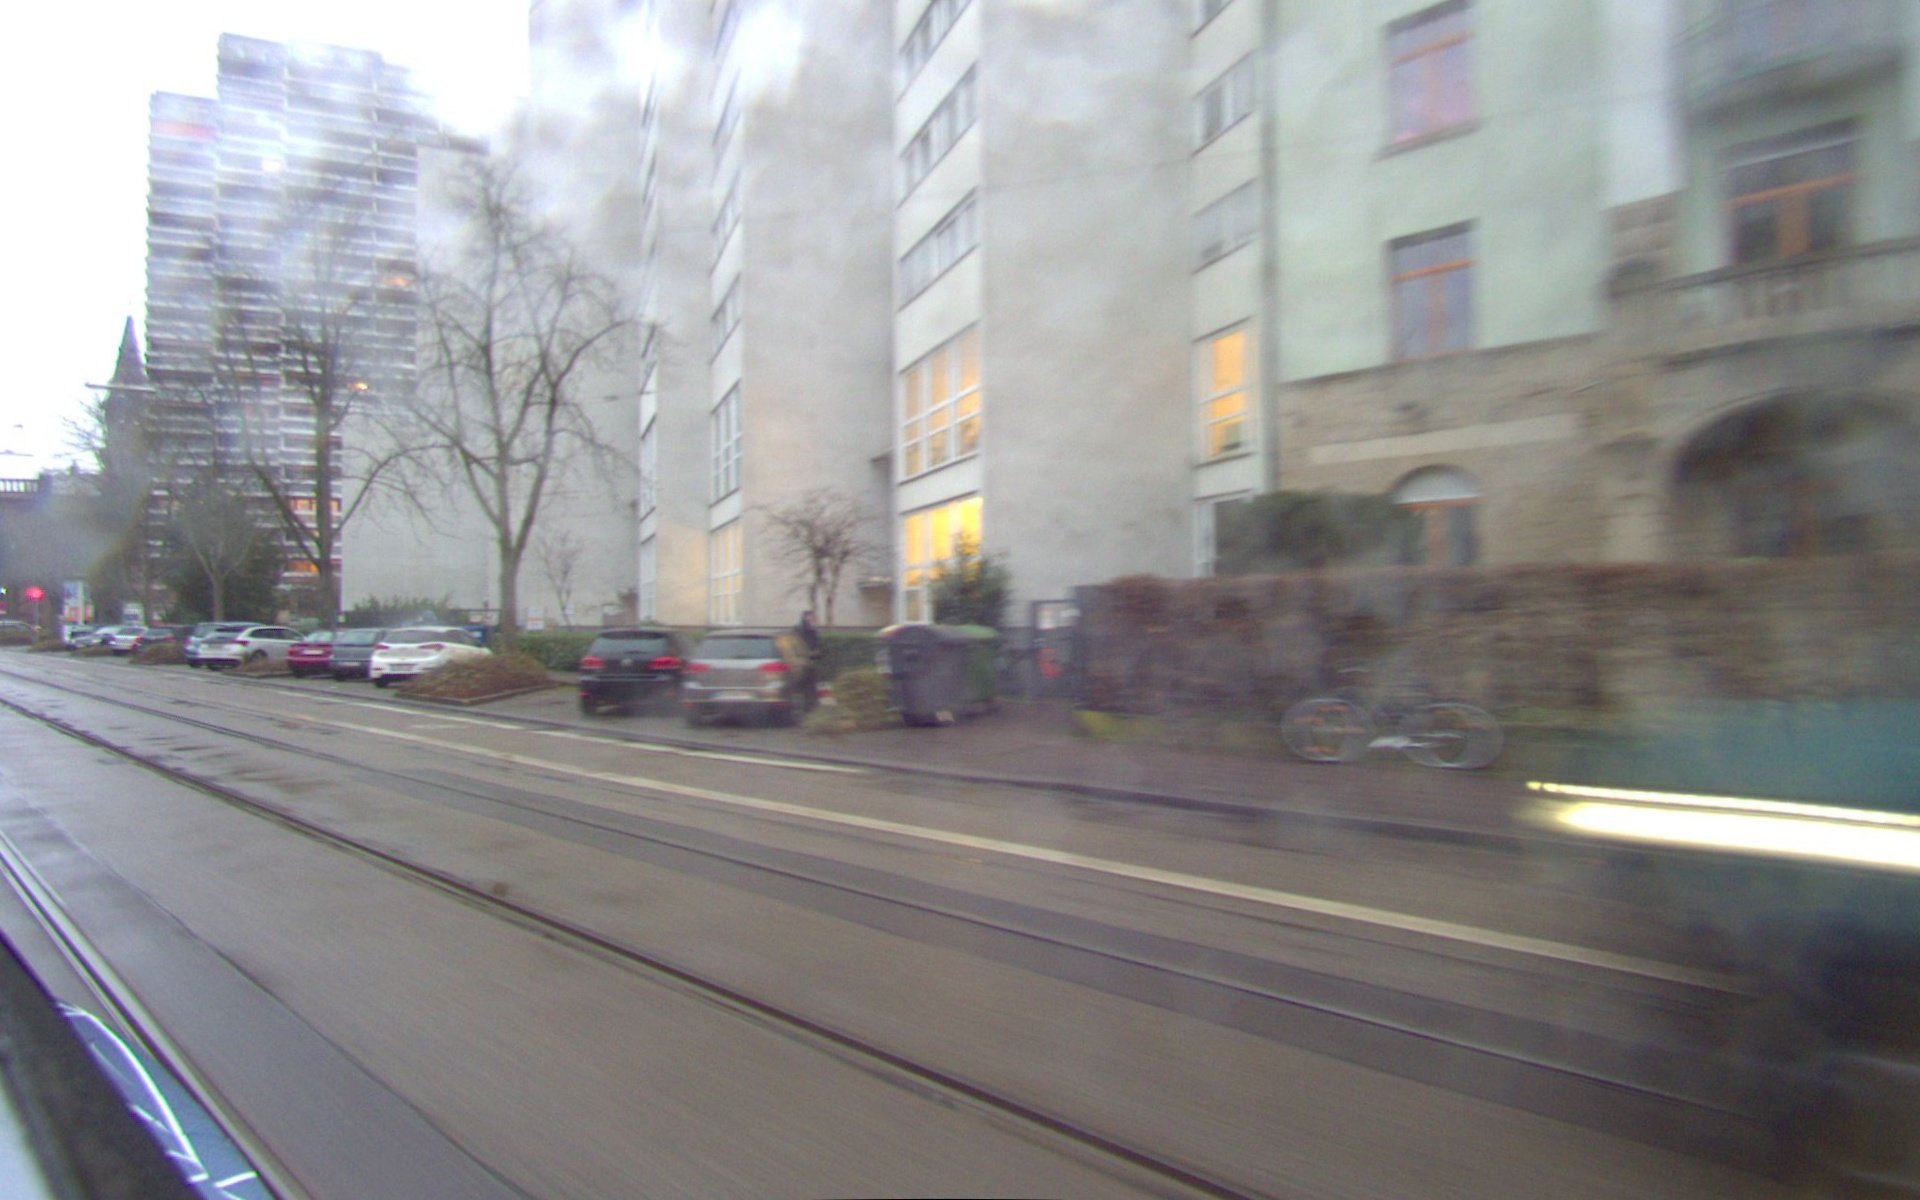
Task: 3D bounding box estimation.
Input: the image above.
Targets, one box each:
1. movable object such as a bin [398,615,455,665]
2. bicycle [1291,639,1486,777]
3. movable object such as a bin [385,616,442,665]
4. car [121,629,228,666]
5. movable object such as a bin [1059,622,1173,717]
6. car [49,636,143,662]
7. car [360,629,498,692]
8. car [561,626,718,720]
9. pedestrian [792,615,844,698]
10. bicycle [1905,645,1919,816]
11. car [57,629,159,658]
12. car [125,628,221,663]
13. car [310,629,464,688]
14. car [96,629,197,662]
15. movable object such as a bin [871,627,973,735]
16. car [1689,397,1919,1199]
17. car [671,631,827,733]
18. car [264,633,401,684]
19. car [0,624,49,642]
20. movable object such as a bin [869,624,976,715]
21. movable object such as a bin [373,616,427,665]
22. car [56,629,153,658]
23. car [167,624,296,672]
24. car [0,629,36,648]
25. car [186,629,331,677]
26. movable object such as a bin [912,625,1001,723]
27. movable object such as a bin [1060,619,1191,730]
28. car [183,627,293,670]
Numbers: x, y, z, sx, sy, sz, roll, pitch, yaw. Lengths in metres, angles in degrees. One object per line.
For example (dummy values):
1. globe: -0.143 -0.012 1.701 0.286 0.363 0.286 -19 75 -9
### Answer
1. movable object such as a bin: -20.230 1.526 38.409 1.317 1.874 1.553 -4 -4 42
2. bicycle: 4.088 0.987 9.702 1.593 1.222 0.686 -2 -3 36
3. movable object such as a bin: -21.253 1.579 39.362 1.393 1.874 1.553 -4 -4 42
4. car: -33.203 1.996 42.904 1.671 1.504 3.856 0 -2 -3
5. movable object such as a bin: 2.539 1.105 16.506 1.247 1.461 1.327 2 -3 -42
6. car: -47.958 2.710 56.296 1.829 1.410 4.000 0 -2 -1
7. car: -13.248 1.486 25.496 1.710 1.434 3.856 0 -2 -5
8. car: -5.556 1.221 18.052 1.804 1.482 4.003 0 -2 -4
9. pedestrian: -2.944 1.161 20.970 0.972 1.690 0.590 -3 -3 41
10. bicycle: 7.466 0.911 6.723 1.591 1.222 0.624 -2 -3 32
11. car: -42.866 2.197 51.046 1.829 1.389 4.000 0 -2 -1
12. car: -35.400 2.031 45.636 1.705 1.504 3.451 0 -2 -1
13. car: -15.798 1.593 28.178 1.715 1.474 3.992 1 -2 6
14. car: -37.929 2.118 47.306 1.765 1.457 4.004 0 -2 -5
15. movable object such as a bin: -0.531 1.140 14.621 1.103 1.461 1.259 -1 -3 19
16. car: 4.381 0.484 1.592 5.095 1.937 2.025 -2 -3 40
17. car: -3.246 1.241 16.354 1.821 1.439 4.001 0 -2 -2
18. car: -18.241 1.669 29.671 1.722 1.362 4.354 1 -2 -7
19. car: -78.141 2.745 83.816 3.939 1.497 1.673 2 -3 -43
20. movable object such as a bin: -0.643 1.156 17.168 1.247 1.461 1.327 2 -3 -42
21. movable object such as a bin: -22.295 1.624 40.293 1.317 1.874 1.553 -4 -4 42
22. car: -45.501 2.332 53.913 1.829 1.474 4.000 0 -2 -1
23. car: -25.674 1.684 35.837 1.712 1.575 4.000 0 -2 -1
24. car: -76.151 3.055 80.479 3.939 1.497 1.673 2 -3 -43
25. car: -23.213 1.733 33.677 1.716 1.455 3.990 1 -2 8
26. movable object such as a bin: -0.040 1.144 15.948 1.103 1.461 1.085 -1 -3 20
27. movable object such as a bin: 2.326 1.017 14.299 1.247 1.461 1.327 2 -3 -42
28. car: -27.894 1.865 39.248 1.668 1.563 3.879 0 -2 -4
